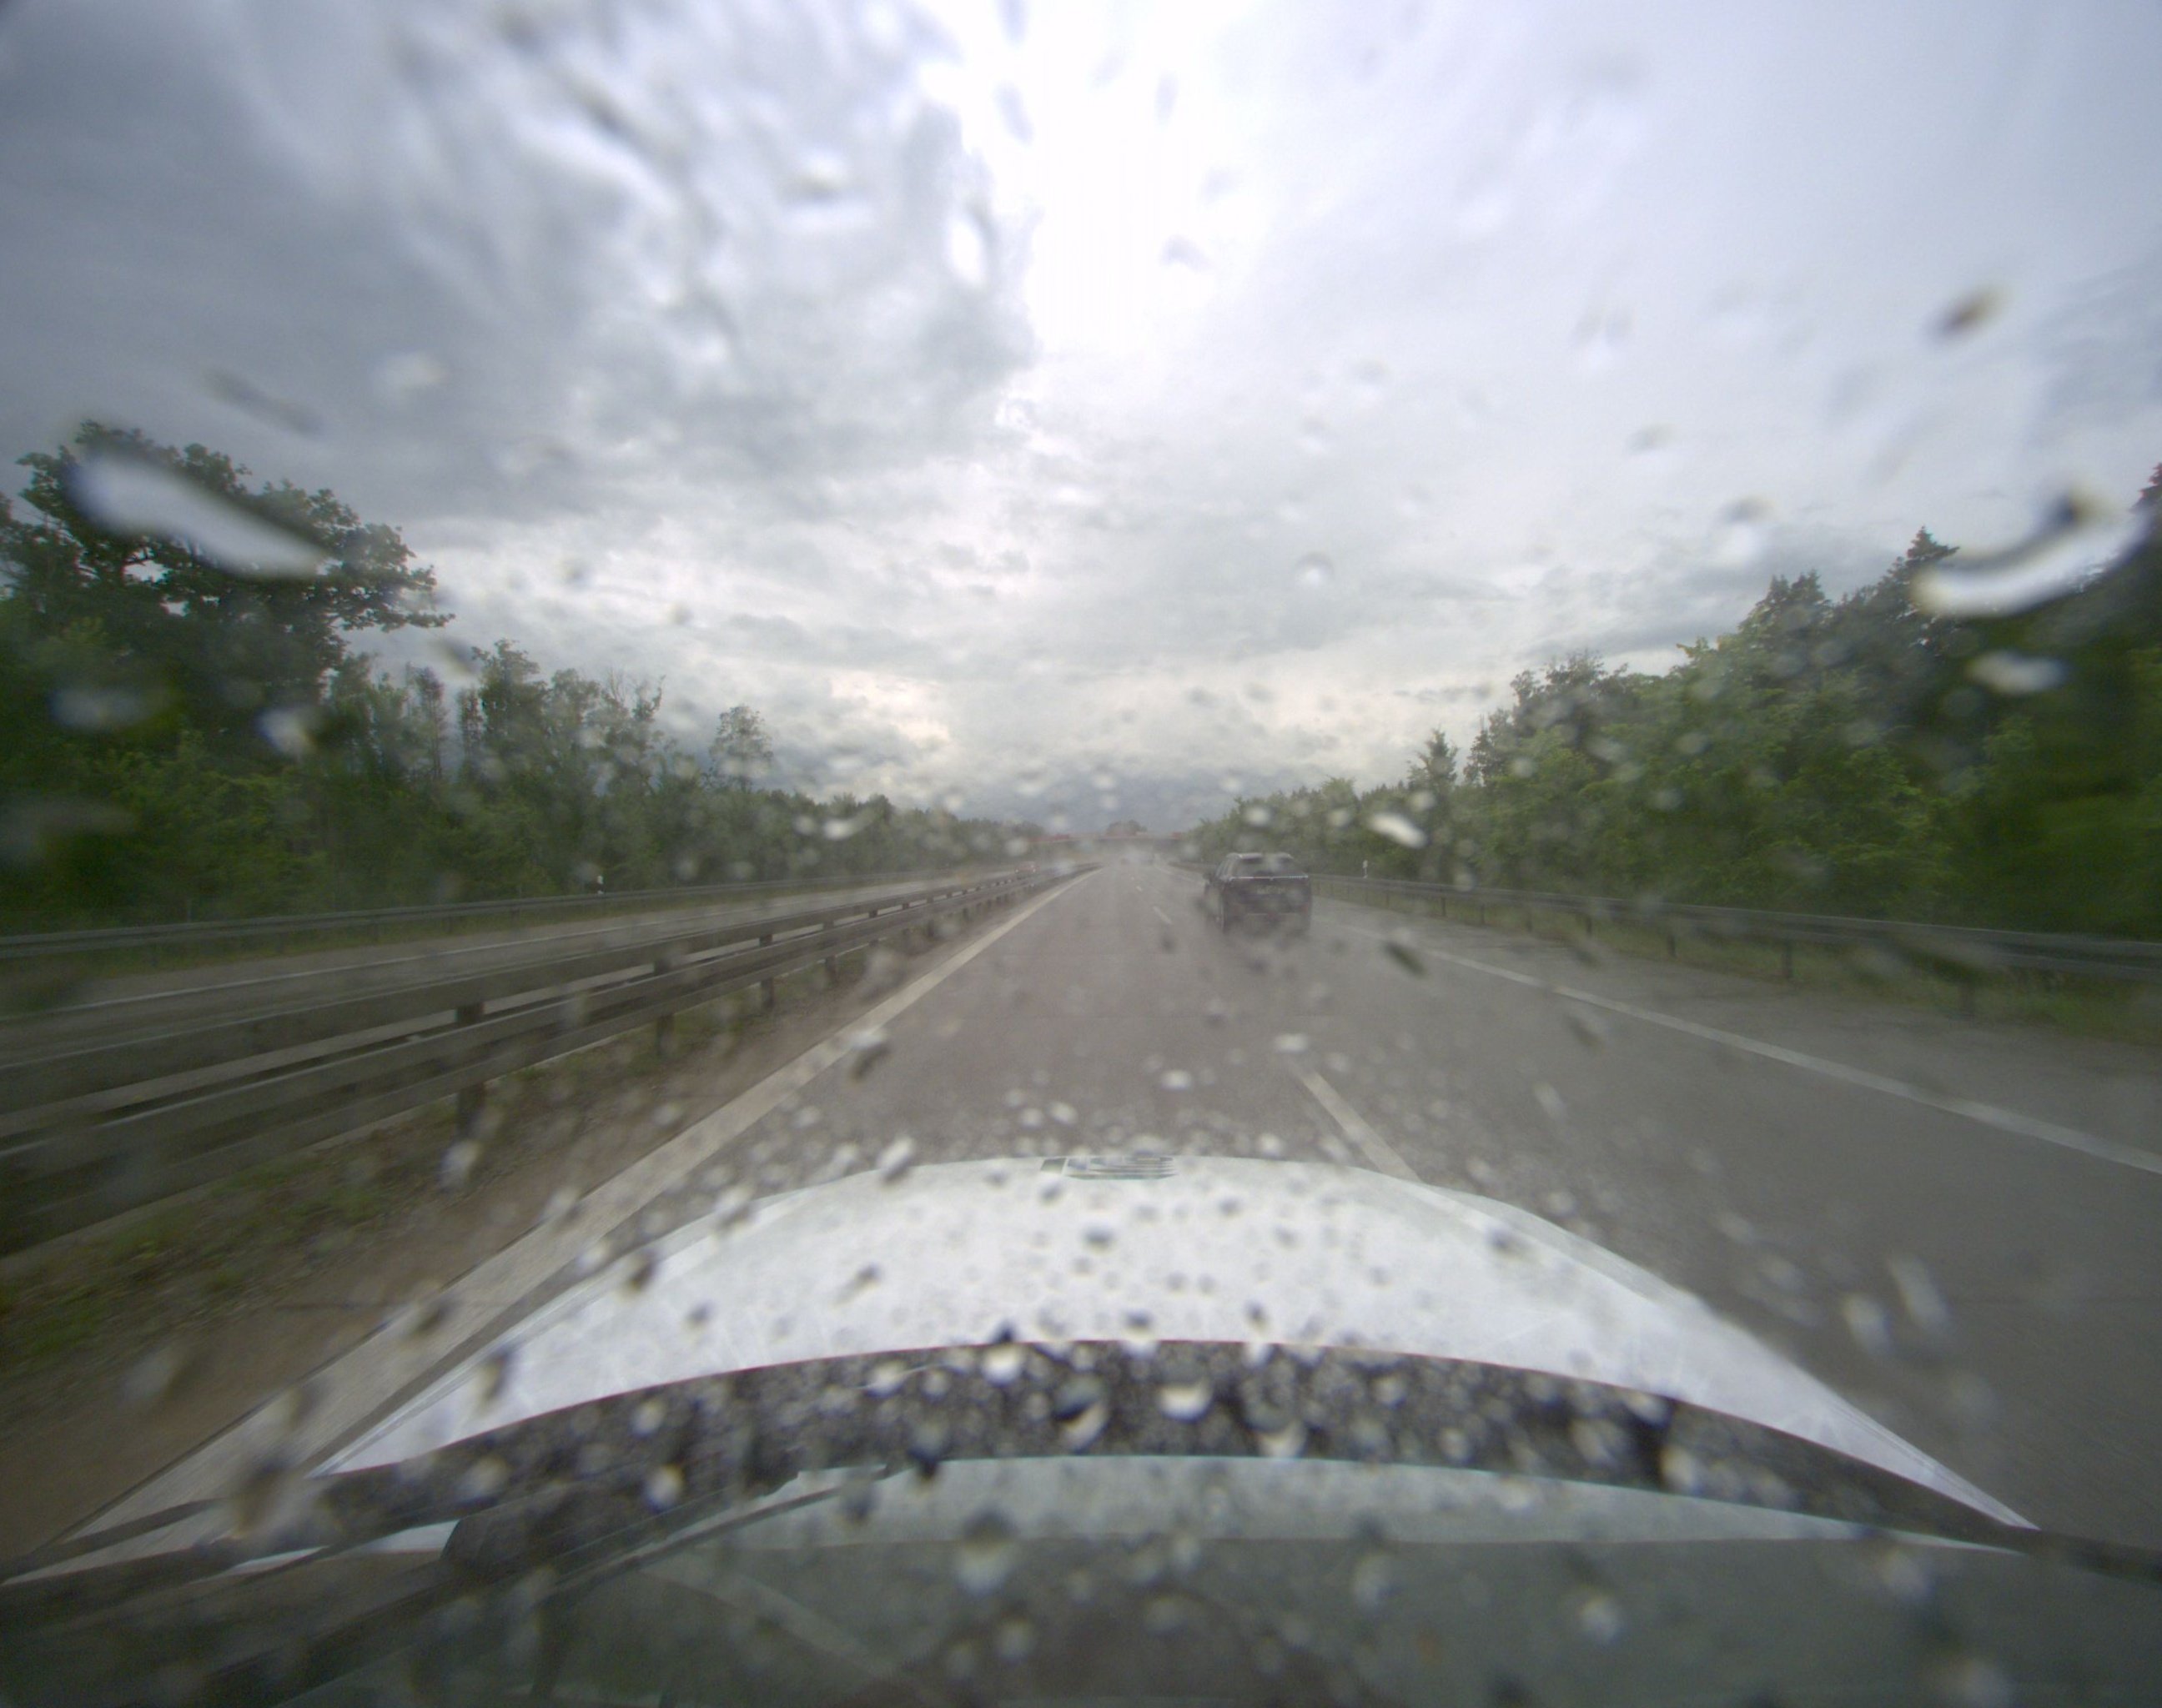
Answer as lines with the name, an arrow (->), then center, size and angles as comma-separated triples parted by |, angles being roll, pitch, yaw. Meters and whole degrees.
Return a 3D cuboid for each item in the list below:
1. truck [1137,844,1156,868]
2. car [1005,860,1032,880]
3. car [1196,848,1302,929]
truck -> 12.656, 0.367, 157.966 | 3.230, 4.437, 8.252 | -1, 0, 3
car -> -5.149, 1.309, 67.692 | 1.757, 1.464, 3.848 | -3, 1, 1
car -> 3.558, 0.694, 17.855 | 1.885, 1.576, 3.637 | -1, 0, 5
